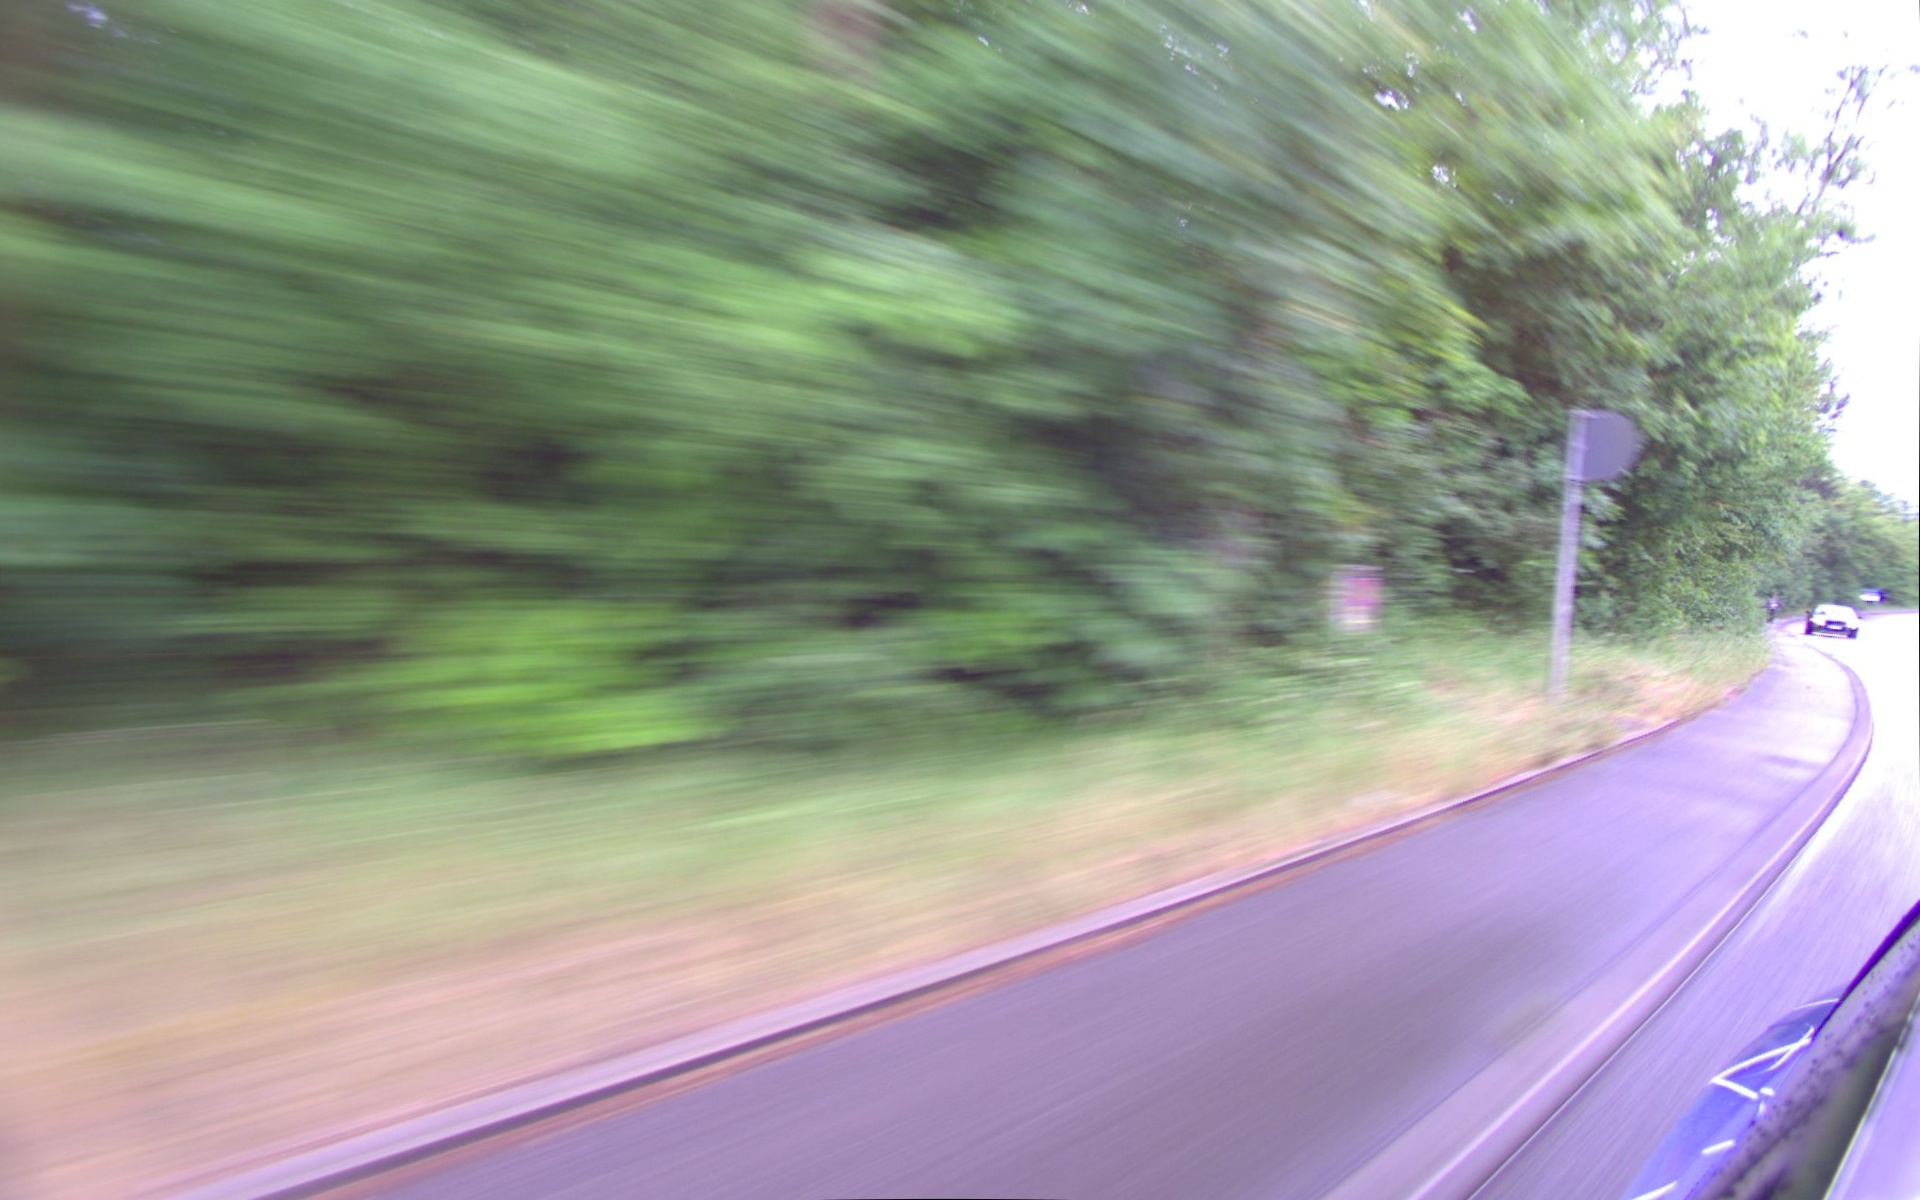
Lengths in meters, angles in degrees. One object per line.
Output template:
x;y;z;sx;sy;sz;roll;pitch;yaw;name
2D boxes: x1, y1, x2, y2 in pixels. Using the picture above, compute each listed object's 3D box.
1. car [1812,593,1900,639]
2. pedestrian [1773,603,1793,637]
40.748;0.738;46.010;3.922;1.536;1.838;4;8;-34;car
41.349;0.992;50.837;0.564;1.594;0.758;8;8;41;pedestrian
